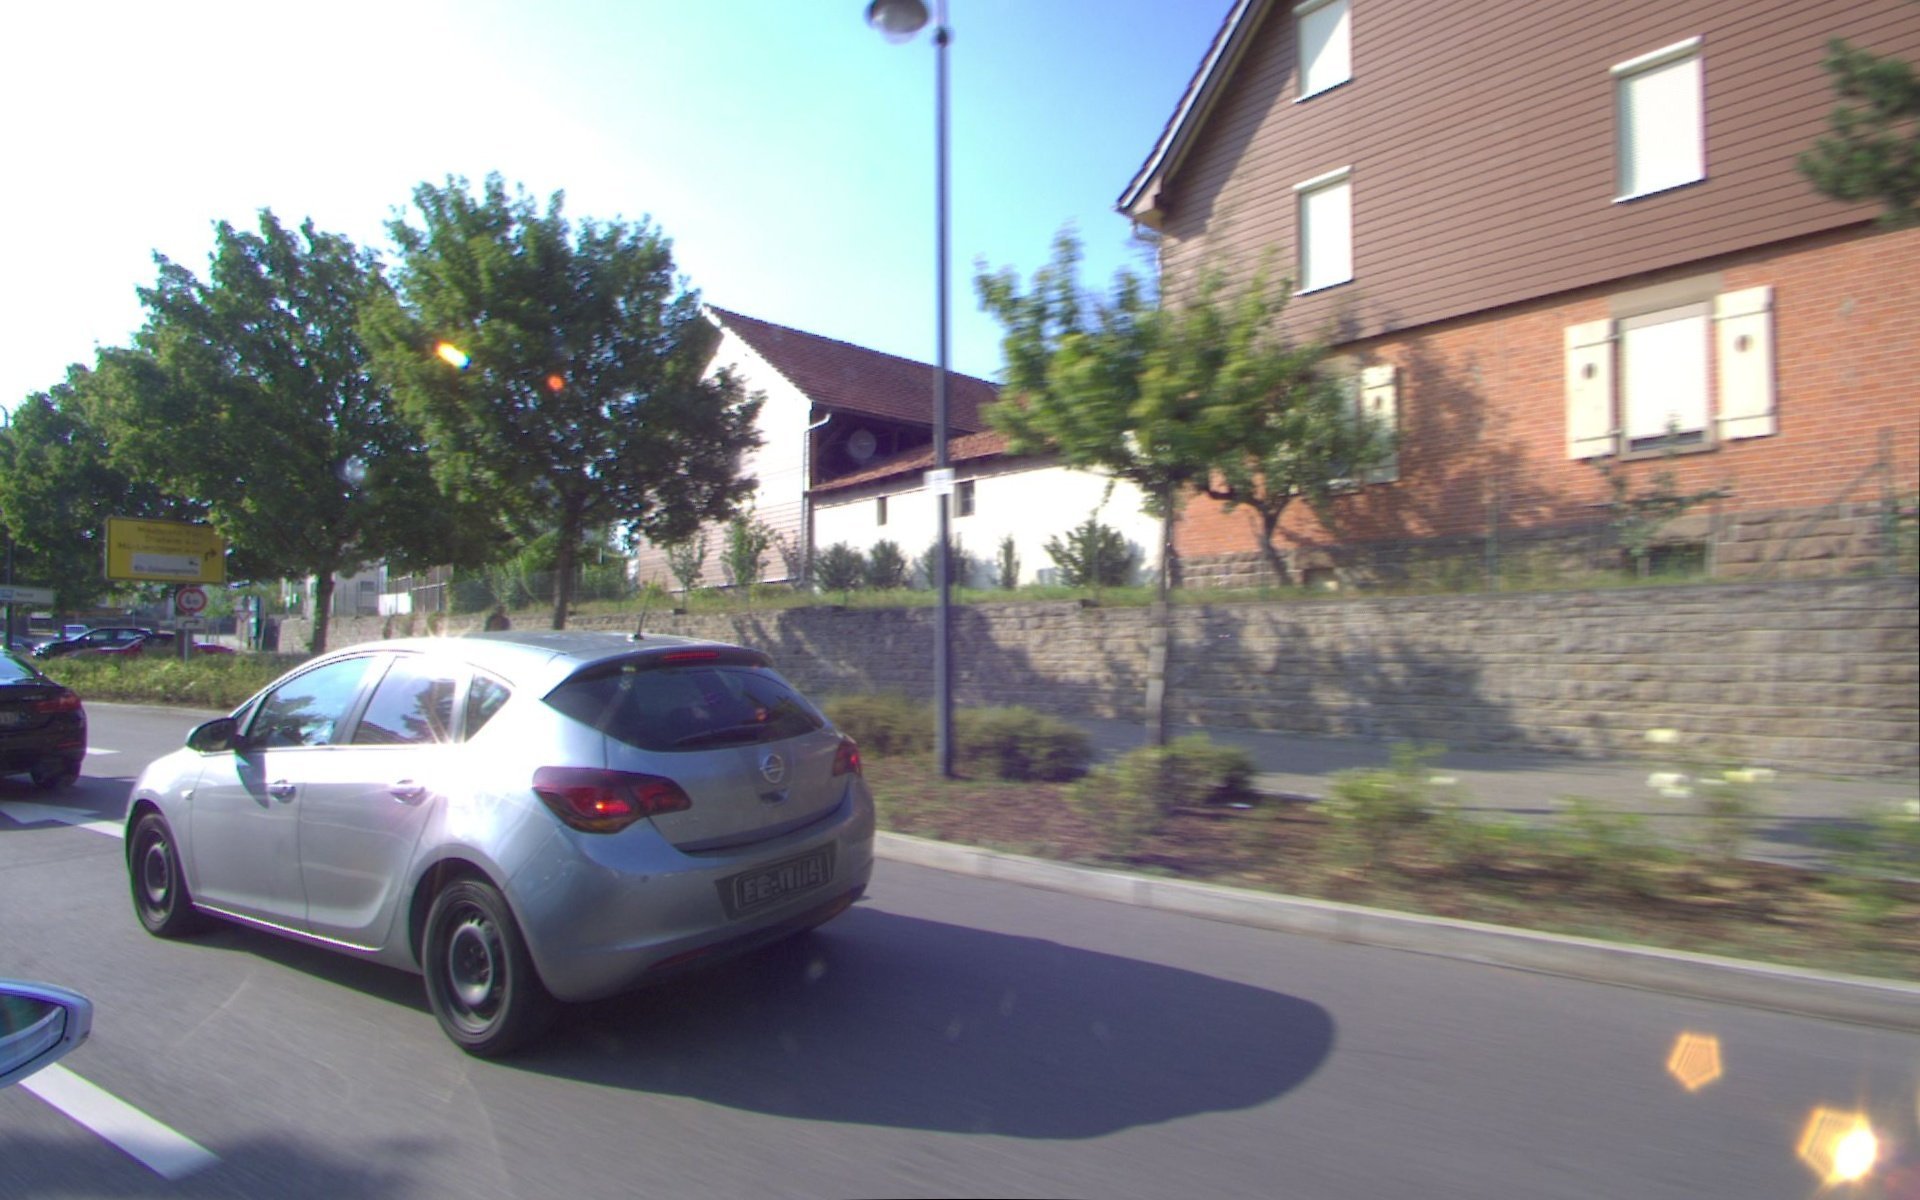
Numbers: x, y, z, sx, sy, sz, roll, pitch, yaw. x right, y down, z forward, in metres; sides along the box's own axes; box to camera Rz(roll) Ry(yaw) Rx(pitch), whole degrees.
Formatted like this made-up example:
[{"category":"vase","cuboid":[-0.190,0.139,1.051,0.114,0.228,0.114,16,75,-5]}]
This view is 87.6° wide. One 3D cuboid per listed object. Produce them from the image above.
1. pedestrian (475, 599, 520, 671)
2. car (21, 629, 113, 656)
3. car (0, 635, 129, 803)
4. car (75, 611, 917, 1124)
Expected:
[{"category":"pedestrian","cuboid":[-11.491,0.863,24.869,0.938,1.725,0.693,-1,-1,39]},{"category":"car","cuboid":[-65.280,3.079,73.280,1.969,1.852,4.628,0,-1,28]},{"category":"car","cuboid":[-9.813,1.028,9.360,4.290,1.382,1.917,-1,-1,32]},{"category":"car","cuboid":[-2.428,0.821,4.855,4.245,1.510,1.717,0,-1,33]}]
